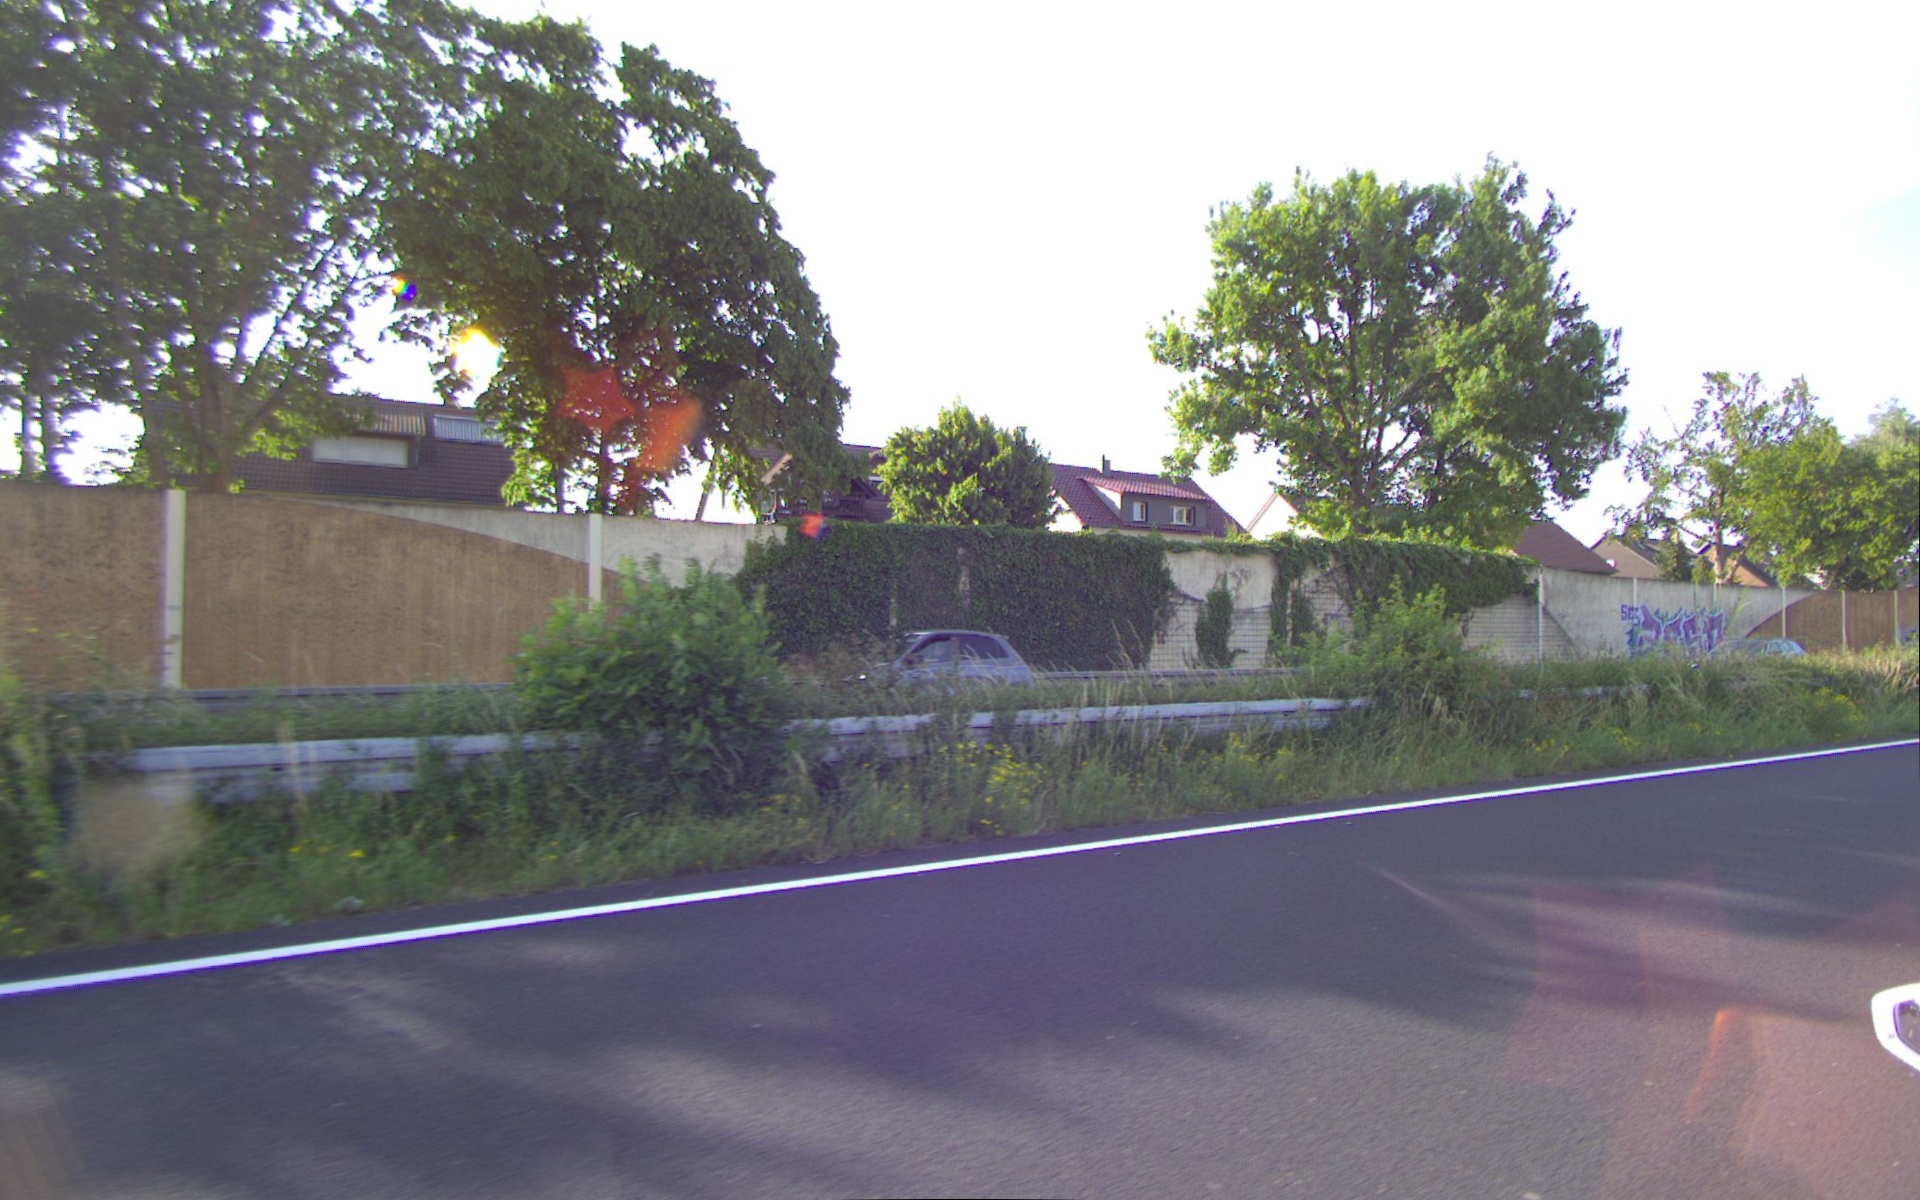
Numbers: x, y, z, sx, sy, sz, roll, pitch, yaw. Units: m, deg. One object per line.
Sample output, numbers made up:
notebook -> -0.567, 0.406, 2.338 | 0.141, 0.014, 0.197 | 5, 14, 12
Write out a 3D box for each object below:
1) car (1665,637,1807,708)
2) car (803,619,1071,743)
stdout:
car -> 22.677, 2.069, 29.322 | 4.316, 1.880, 1.825 | 2, 0, -31
car -> -0.361, 1.254, 16.497 | 3.953, 1.751, 1.927 | 2, 0, -30
